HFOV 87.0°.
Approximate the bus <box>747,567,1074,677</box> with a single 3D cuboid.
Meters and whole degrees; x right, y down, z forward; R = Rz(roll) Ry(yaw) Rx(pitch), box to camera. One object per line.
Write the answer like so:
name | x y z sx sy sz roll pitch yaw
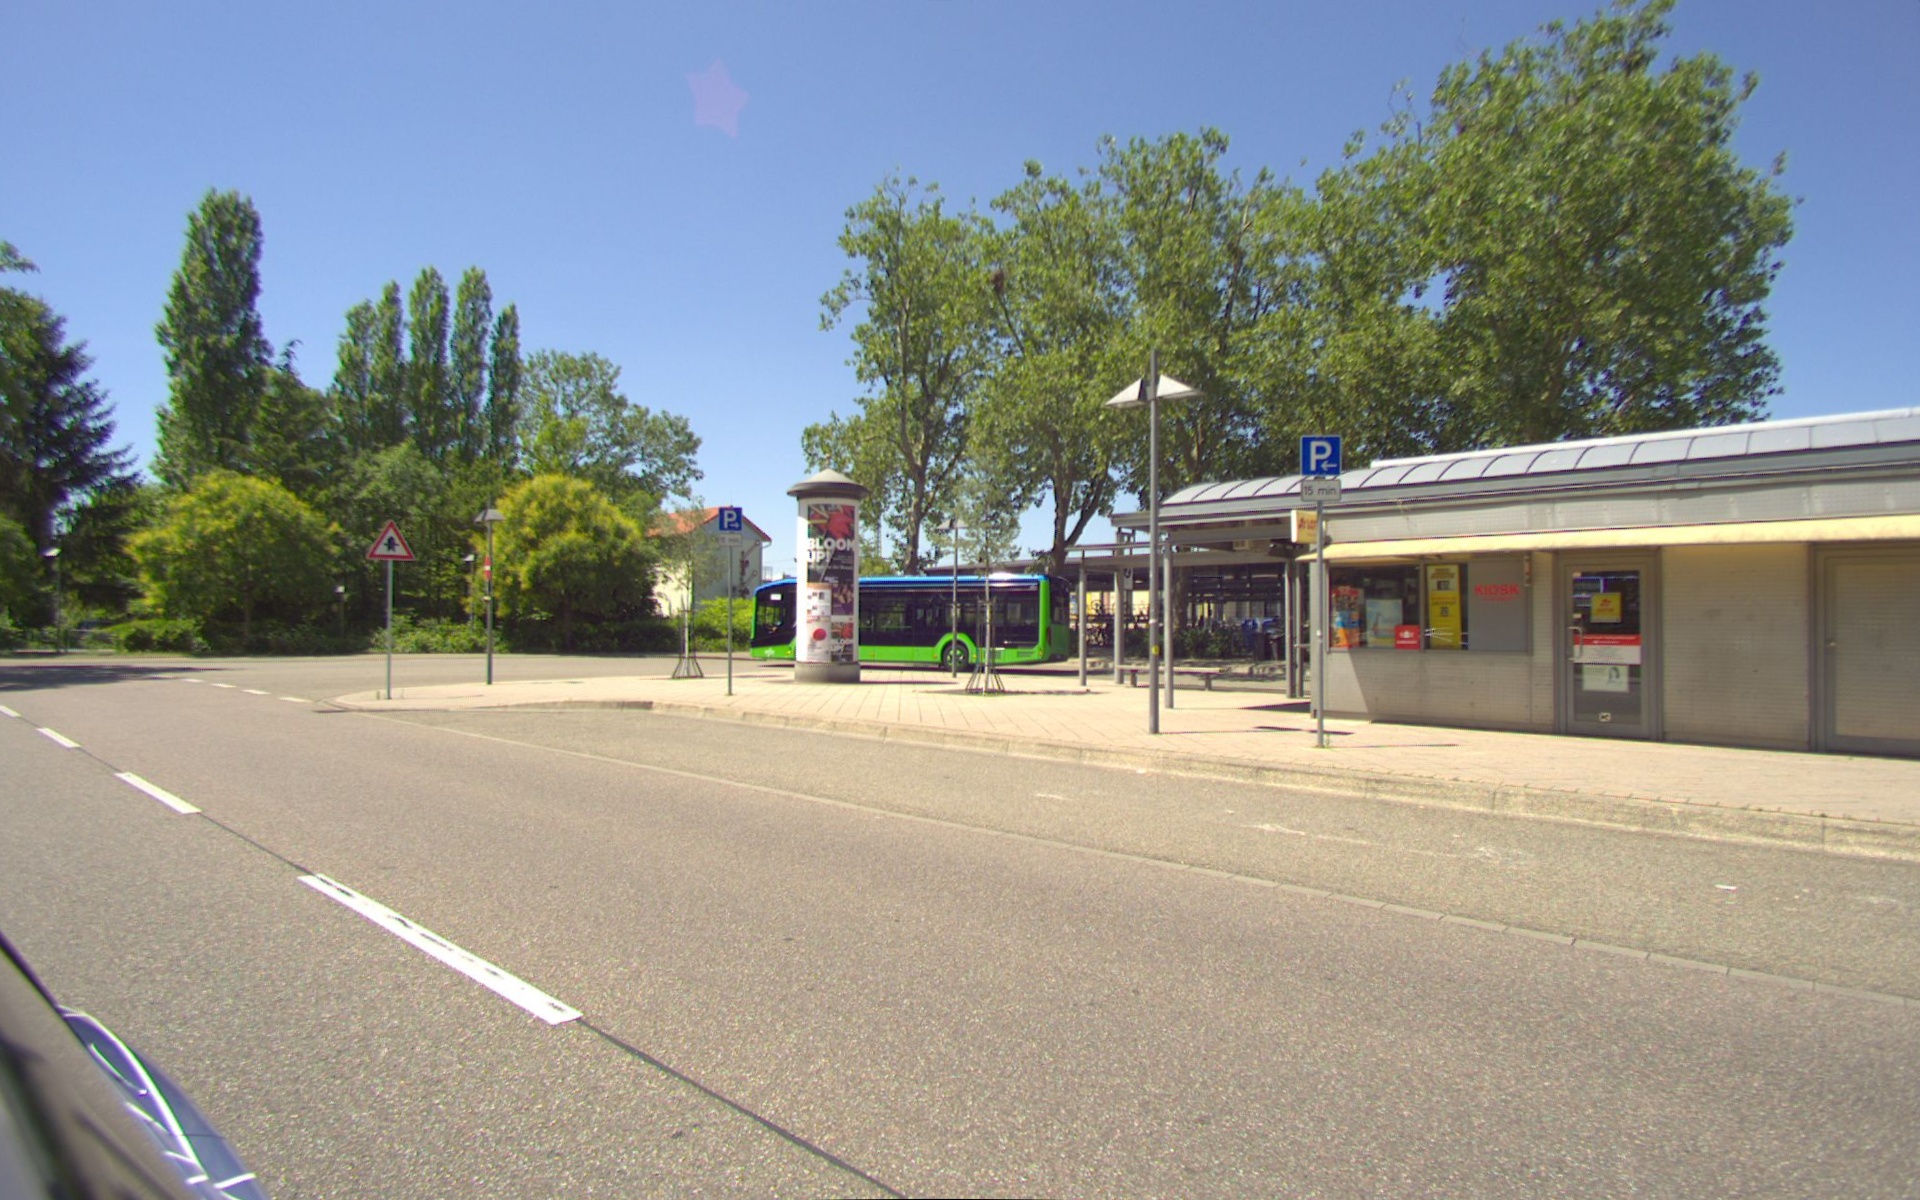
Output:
bus | -2.047 0.796 36.126 12.154 3.553 2.150 -1 -1 26
